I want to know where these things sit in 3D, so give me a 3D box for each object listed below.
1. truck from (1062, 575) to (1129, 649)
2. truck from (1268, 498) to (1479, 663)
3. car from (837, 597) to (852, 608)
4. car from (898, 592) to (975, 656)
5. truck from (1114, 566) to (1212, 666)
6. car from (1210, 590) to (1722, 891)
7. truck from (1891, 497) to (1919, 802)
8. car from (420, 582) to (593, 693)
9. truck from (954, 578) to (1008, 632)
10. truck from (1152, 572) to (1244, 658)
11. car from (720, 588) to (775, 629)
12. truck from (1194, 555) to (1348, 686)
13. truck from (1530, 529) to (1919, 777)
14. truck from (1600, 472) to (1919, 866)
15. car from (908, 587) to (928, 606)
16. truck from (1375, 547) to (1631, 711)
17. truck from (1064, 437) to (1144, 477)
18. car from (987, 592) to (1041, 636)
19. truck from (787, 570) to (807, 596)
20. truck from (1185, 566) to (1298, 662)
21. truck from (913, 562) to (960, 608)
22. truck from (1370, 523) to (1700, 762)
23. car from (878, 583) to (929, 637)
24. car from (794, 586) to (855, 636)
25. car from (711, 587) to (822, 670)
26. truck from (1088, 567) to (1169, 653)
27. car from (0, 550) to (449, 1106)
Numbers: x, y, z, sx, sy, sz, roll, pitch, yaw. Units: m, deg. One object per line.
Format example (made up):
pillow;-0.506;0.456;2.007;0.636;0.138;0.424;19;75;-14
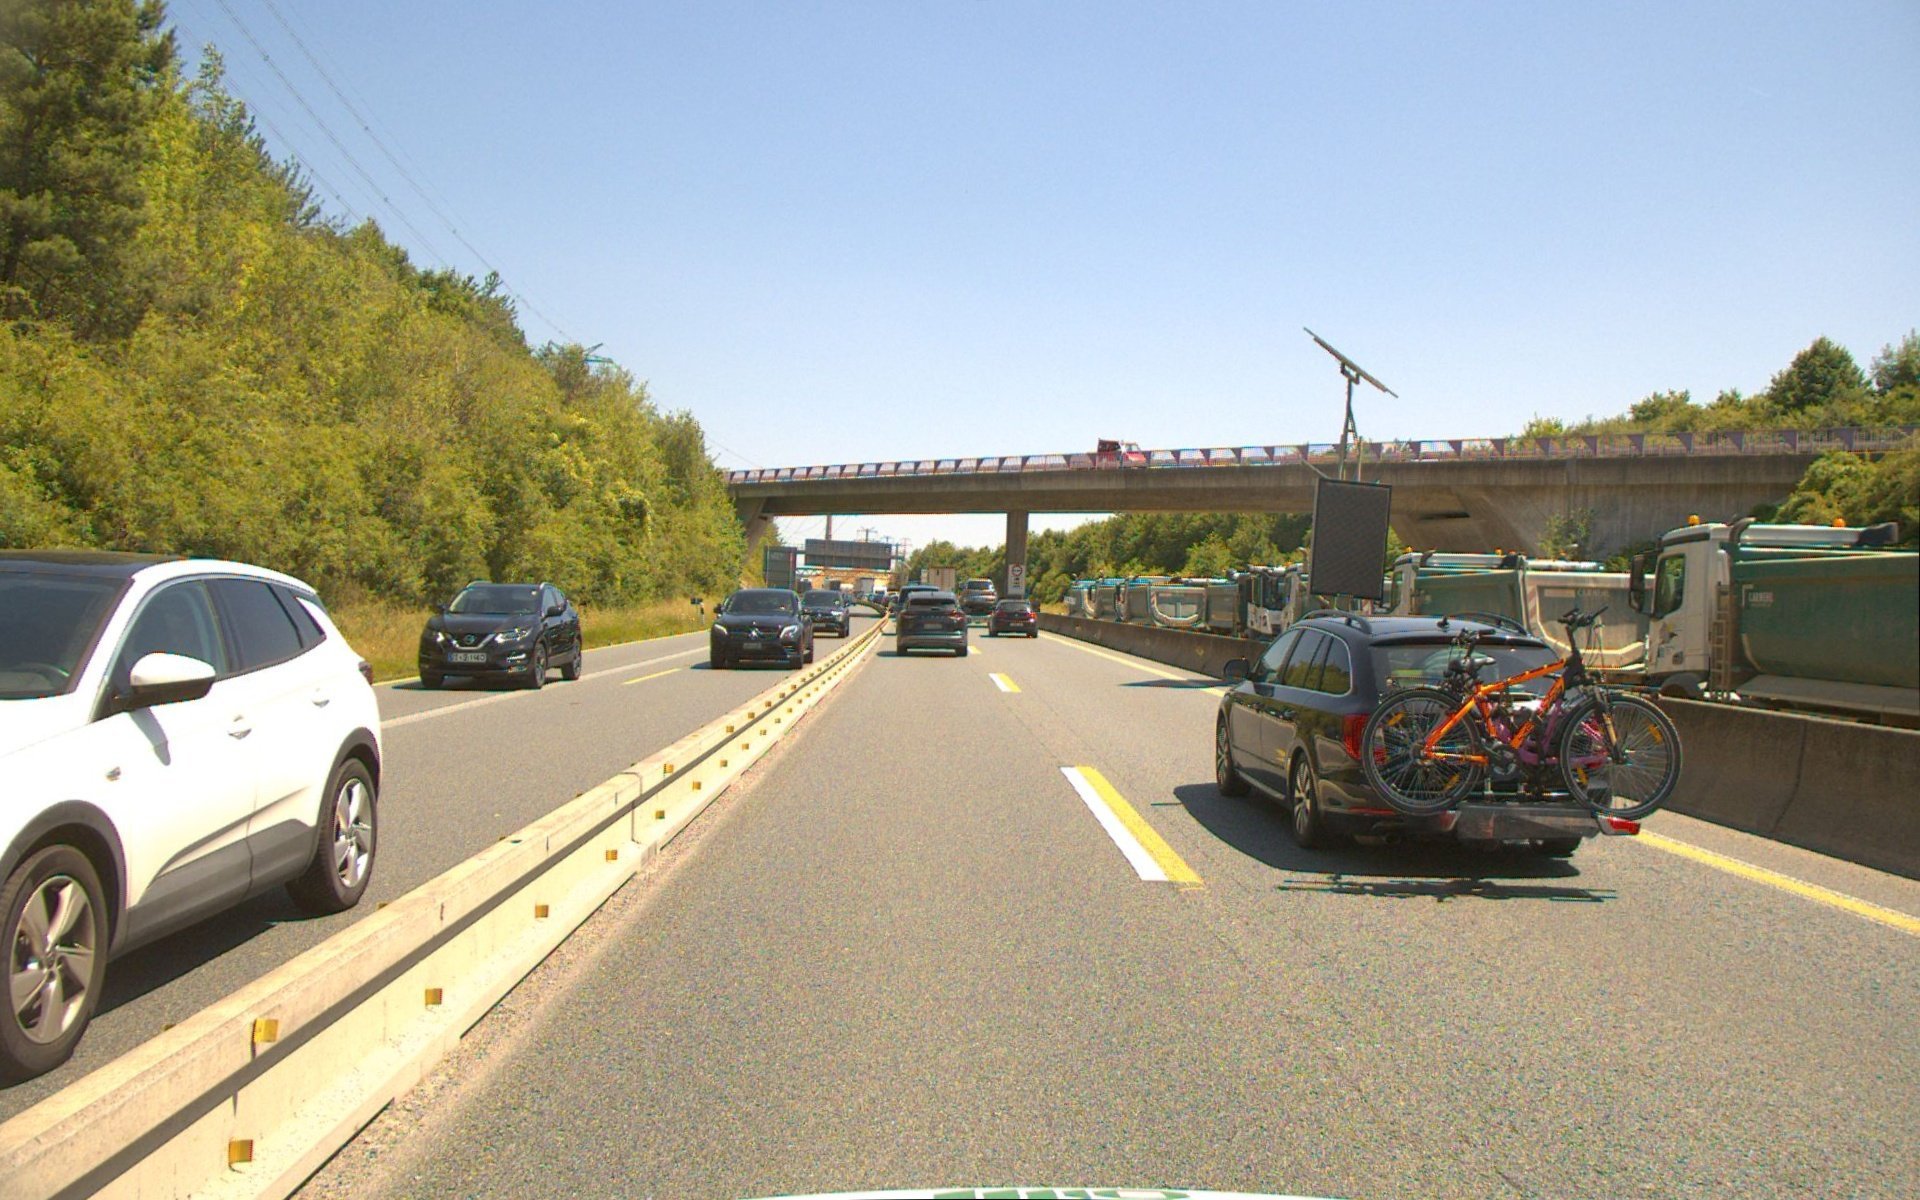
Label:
truck;7.528;0.615;92.869;2.633;3.910;9.322;1;0;-2
truck;10.091;-0.451;41.563;2.633;3.619;9.321;1;0;-2
car;-14.692;0.310;210.770;1.640;1.418;4.069;1;0;-2
car;-0.596;0.595;42.958;1.860;1.531;4.276;1;0;0
truck;8.316;0.601;68.916;2.633;3.826;9.322;1;0;-2
car;2.996;0.740;11.041;1.860;1.516;4.947;1;0;0
truck;12.824;0.621;15.449;2.633;3.619;9.600;1;0;-1
car;-7.101;0.544;26.268;1.665;1.592;3.994;2;0;-1
truck;1.008;0.222;84.366;2.357;2.603;7.497;1;0;-2
truck;11.186;0.673;78.548;2.633;3.792;9.321;1;0;-2
car;-8.463;0.332;66.239;1.688;1.548;4.184;1;0;-1
truck;9.347;0.560;50.867;2.633;3.619;9.321;1;0;-2
truck;12.670;0.737;28.049;2.632;3.437;9.602;1;0;0
truck;10.107;0.647;17.671;2.633;3.619;9.600;1;0;-1
car;-4.683;-0.413;184.125;1.863;2.003;4.270;1;0;-6
truck;12.710;0.597;39.813;2.633;3.437;9.598;1;0;-2
truck;9.058;-9.028;104.830;1.916;2.102;5.443;2;0;-37
car;2.041;0.533;63.715;1.860;1.613;4.275;1;0;-1
truck;-21.454;-2.173;217.740;2.460;3.242;10.096;1;0;-6
truck;11.301;0.513;67.326;2.633;3.619;9.321;1;0;-2
truck;-2.182;-1.339;149.343;3.229;3.912;10.096;1;0;-6
truck;9.995;0.644;30.107;2.632;3.619;9.405;1;0;0
car;-2.175;0.375;64.660;1.860;2.003;4.275;1;0;0
car;-4.796;0.354;59.091;1.806;1.638;4.698;2;0;-1
car;-4.010;0.544;34.935;1.806;1.560;4.670;2;0;-1
truck;8.089;0.440;80.518;2.633;3.923;9.322;1;0;-2
car;-3.616;0.615;6.504;1.806;1.560;4.670;1;0;-1
